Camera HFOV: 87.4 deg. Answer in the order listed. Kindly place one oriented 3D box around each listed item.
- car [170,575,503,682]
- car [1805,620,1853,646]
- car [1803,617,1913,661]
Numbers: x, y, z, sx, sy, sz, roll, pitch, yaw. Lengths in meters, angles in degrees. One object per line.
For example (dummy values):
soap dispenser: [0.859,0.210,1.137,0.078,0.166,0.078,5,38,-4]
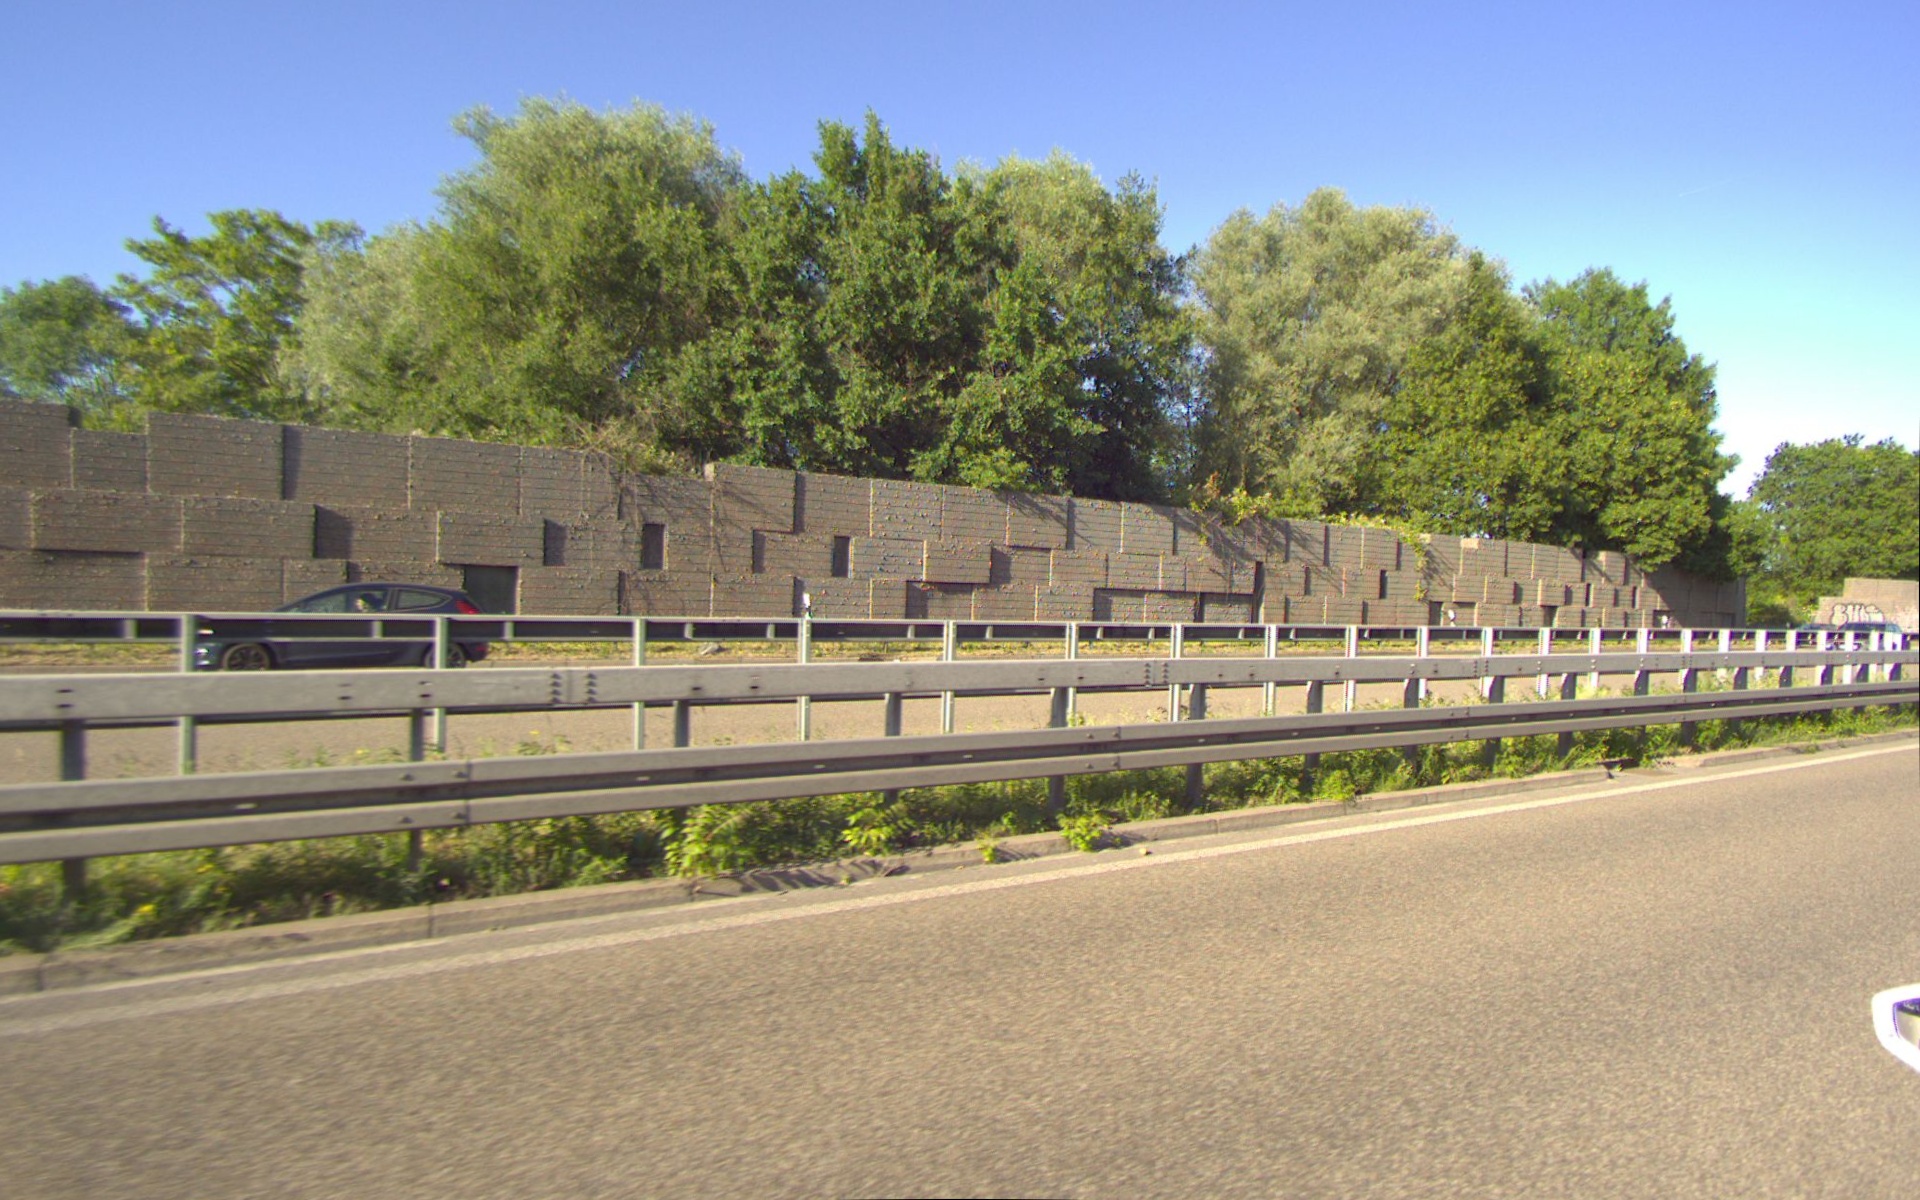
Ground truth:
car: [-9.295,0.410,15.340,4.085,1.441,1.889,1,0,-30]
car: [55.050,2.068,63.688,1.968,1.406,4.013,4,3,37]
car: [35.053,1.475,39.188,4.484,1.500,1.982,1,3,-33]
